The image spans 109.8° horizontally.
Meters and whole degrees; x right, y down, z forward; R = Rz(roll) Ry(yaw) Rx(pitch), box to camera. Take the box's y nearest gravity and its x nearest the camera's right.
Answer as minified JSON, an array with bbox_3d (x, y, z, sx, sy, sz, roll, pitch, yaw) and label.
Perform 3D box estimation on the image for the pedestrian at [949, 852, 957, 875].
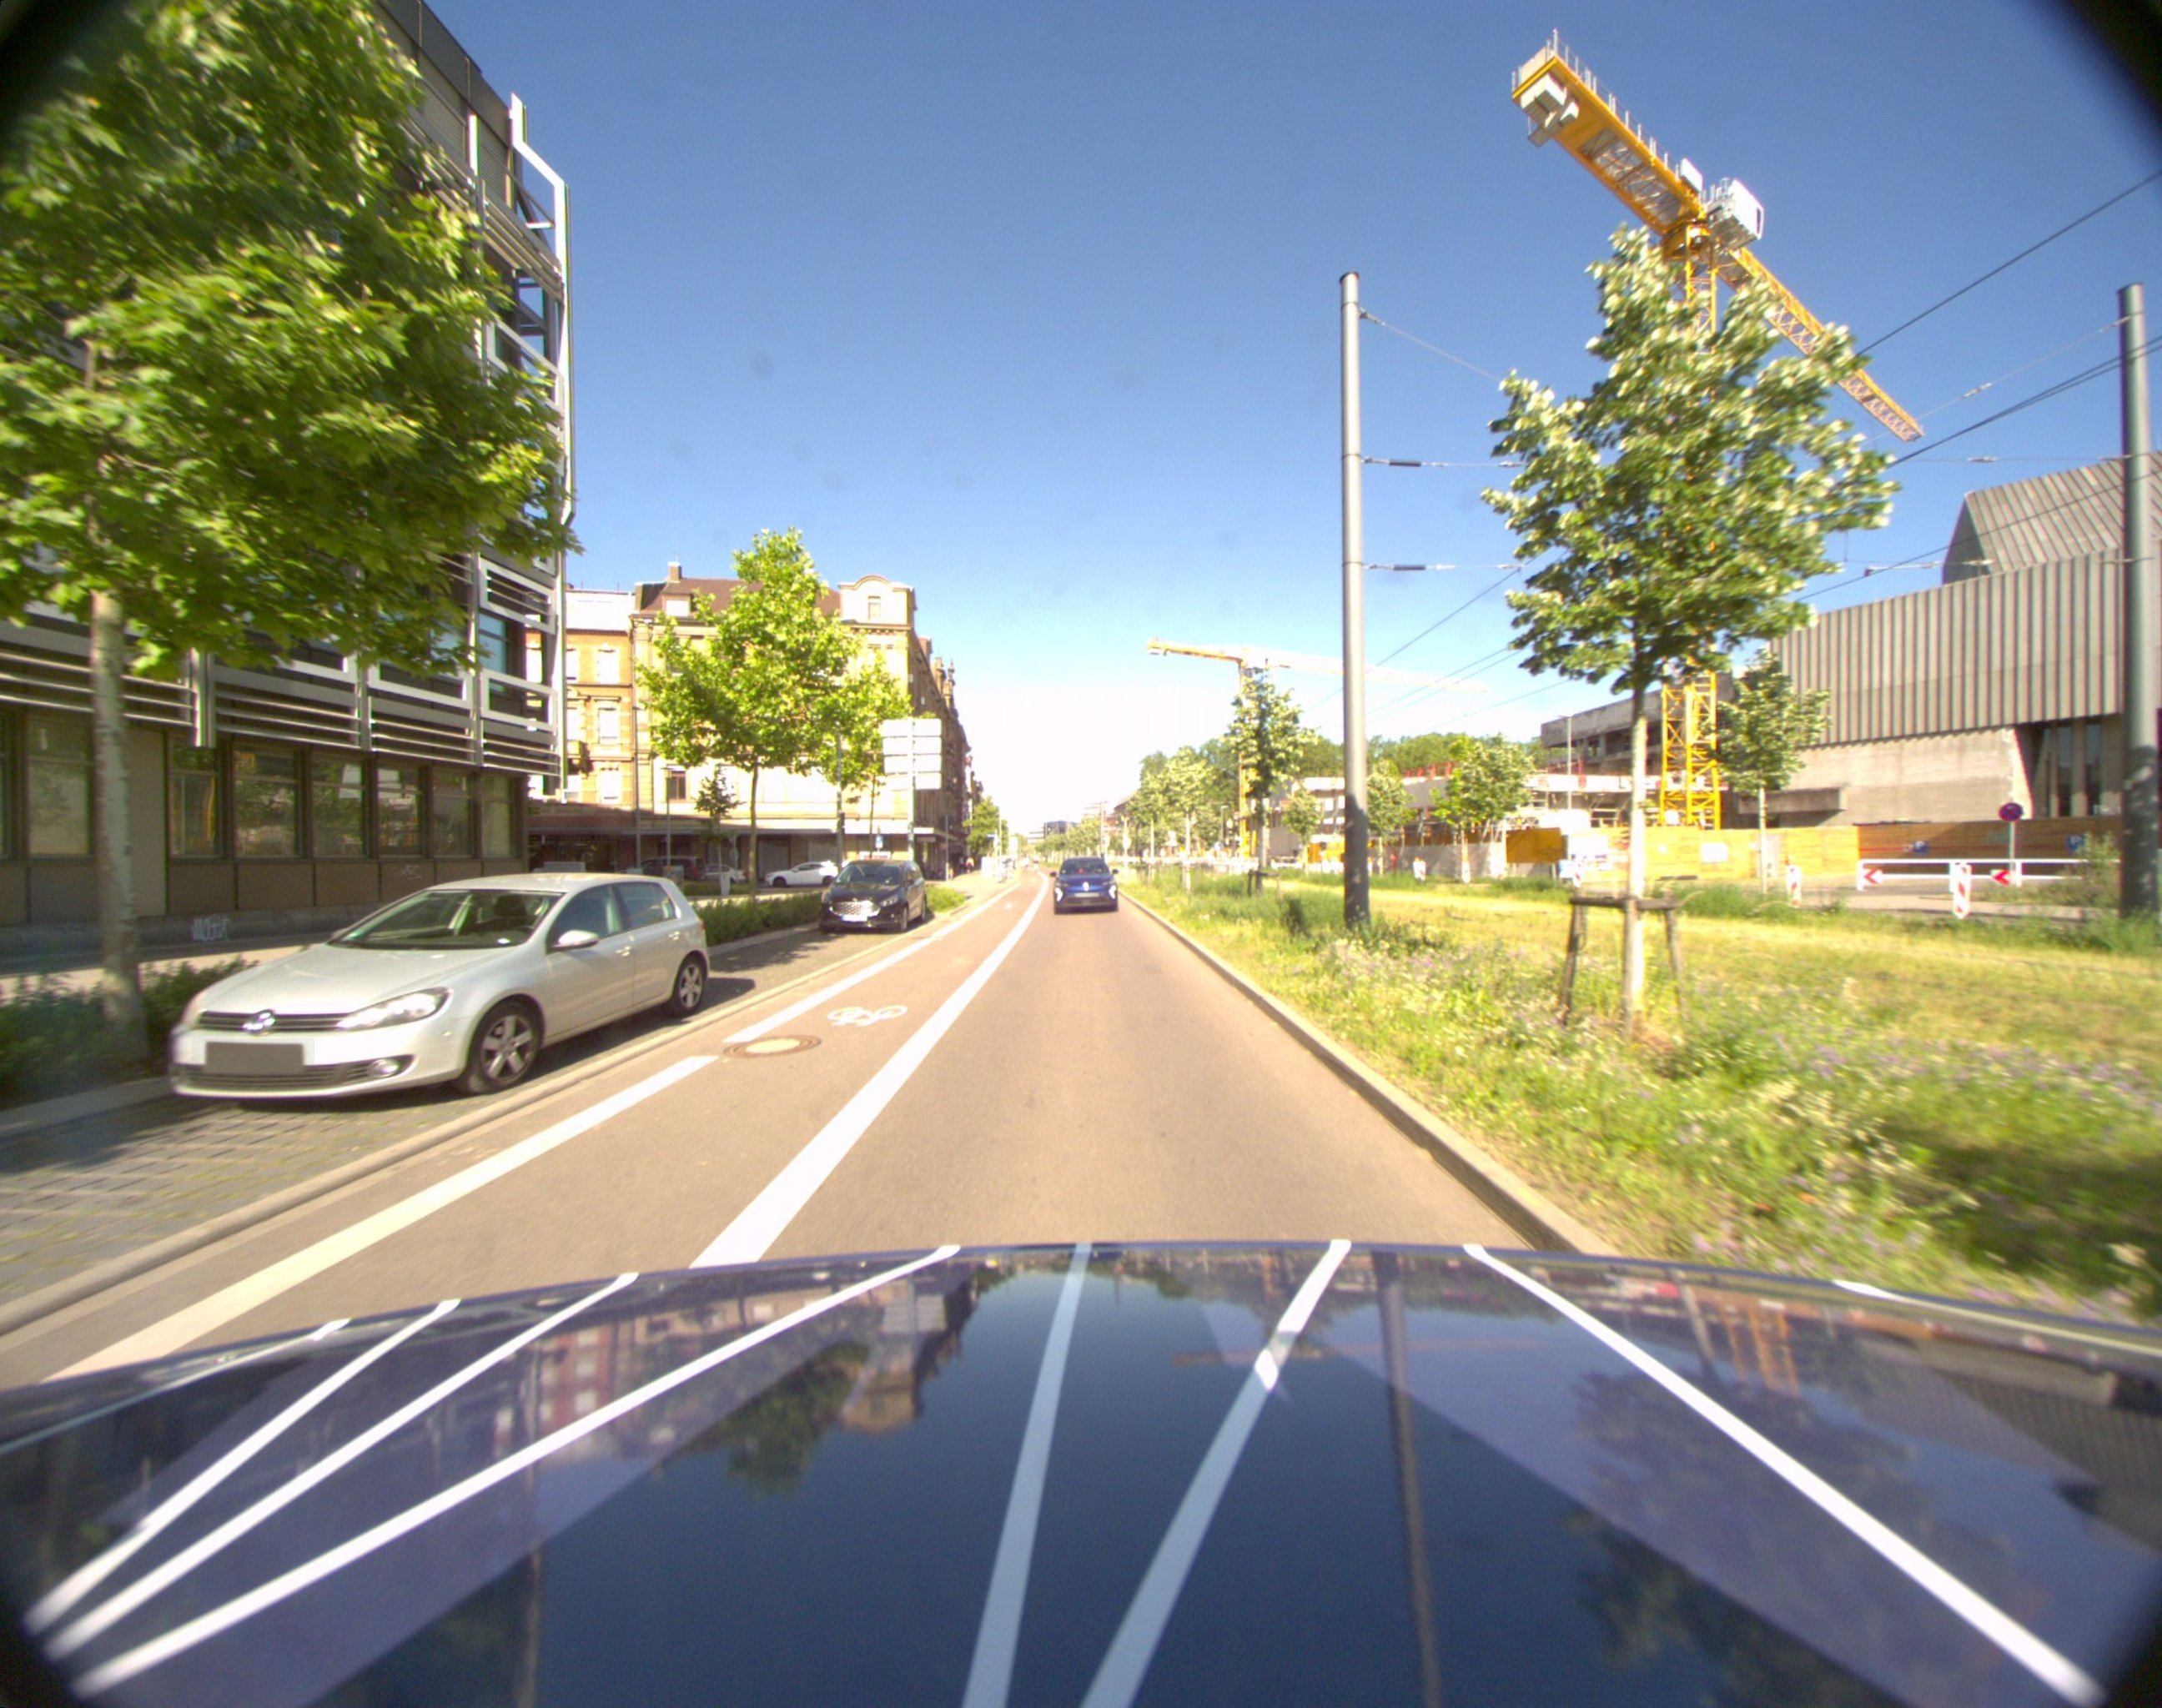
[{"bbox_3d":[-10.387,0.772,61.522,0.512,1.791,0.501,-1,0,4],"label":"pedestrian"}]

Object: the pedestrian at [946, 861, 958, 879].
[{"bbox_3d":[-9.282,1.156,54.674,0.718,1.211,0.647,1,1,2],"label":"pedestrian"}]

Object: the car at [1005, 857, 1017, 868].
[{"bbox_3d":[-10.514,1.302,114.444,1.670,1.574,3.747,-3,1,-4],"label":"car"}]

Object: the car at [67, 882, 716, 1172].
[{"bbox_3d":[-4.851,1.043,6.321,1.622,1.456,4.155,1,0,0],"label":"car"}]

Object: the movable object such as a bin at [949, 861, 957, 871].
[{"bbox_3d":[-12.677,1.194,75.175,0.692,0.969,0.587,-1,1,1],"label":"movable object such as a bin"}]

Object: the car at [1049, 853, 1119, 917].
[{"bbox_3d":[0.178,0.839,22.407,1.748,1.613,4.153,-4,0,3],"label":"car"}]

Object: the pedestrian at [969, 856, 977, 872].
[{"bbox_3d":[-10.614,0.959,74.621,0.753,1.575,0.808,1,0,-4],"label":"pedestrian"}]

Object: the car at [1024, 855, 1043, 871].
[{"bbox_3d":[-5.977,1.092,96.102,1.822,1.783,4.001,-3,1,5],"label":"car"}]

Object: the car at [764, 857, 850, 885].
[{"bbox_3d":[-15.858,0.957,44.189,4.409,1.535,1.851,-1,0,-12],"label":"car"}]

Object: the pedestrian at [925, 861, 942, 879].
[{"bbox_3d":[-10.420,1.124,53.586,1.075,1.211,0.702,1,1,-4],"label":"pedestrian"}]

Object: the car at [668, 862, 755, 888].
[{"bbox_3d":[-20.977,1.180,43.267,4.193,1.386,1.556,-1,-1,-12],"label":"car"}]

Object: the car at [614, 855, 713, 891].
[{"bbox_3d":[-21.875,0.976,39.972,4.168,1.742,1.816,-1,0,-12],"label":"car"}]

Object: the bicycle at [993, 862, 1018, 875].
[{"bbox_3d":[-6.427,1.242,64.563,2.055,1.113,0.602,1,1,-4],"label":"bicycle"}]

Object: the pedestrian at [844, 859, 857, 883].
[{"bbox_3d":[-13.876,1.027,45.762,0.683,1.442,0.543,-1,1,-9],"label":"pedestrian"}]

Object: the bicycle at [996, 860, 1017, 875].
[{"bbox_3d":[-6.612,1.227,67.482,1.870,1.244,0.691,2,1,-5],"label":"bicycle"}]

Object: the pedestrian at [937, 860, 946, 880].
[{"bbox_3d":[-10.198,1.167,55.544,0.574,1.386,0.648,1,1,-5],"label":"pedestrian"}]

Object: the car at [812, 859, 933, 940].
[{"bbox_3d":[-4.804,0.972,18.179,1.752,1.649,4.469,-1,0,-2],"label":"car"}]

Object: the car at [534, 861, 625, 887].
[{"bbox_3d":[-27.794,1.109,42.233,3.825,1.346,1.649,-1,0,-12],"label":"car"}]
